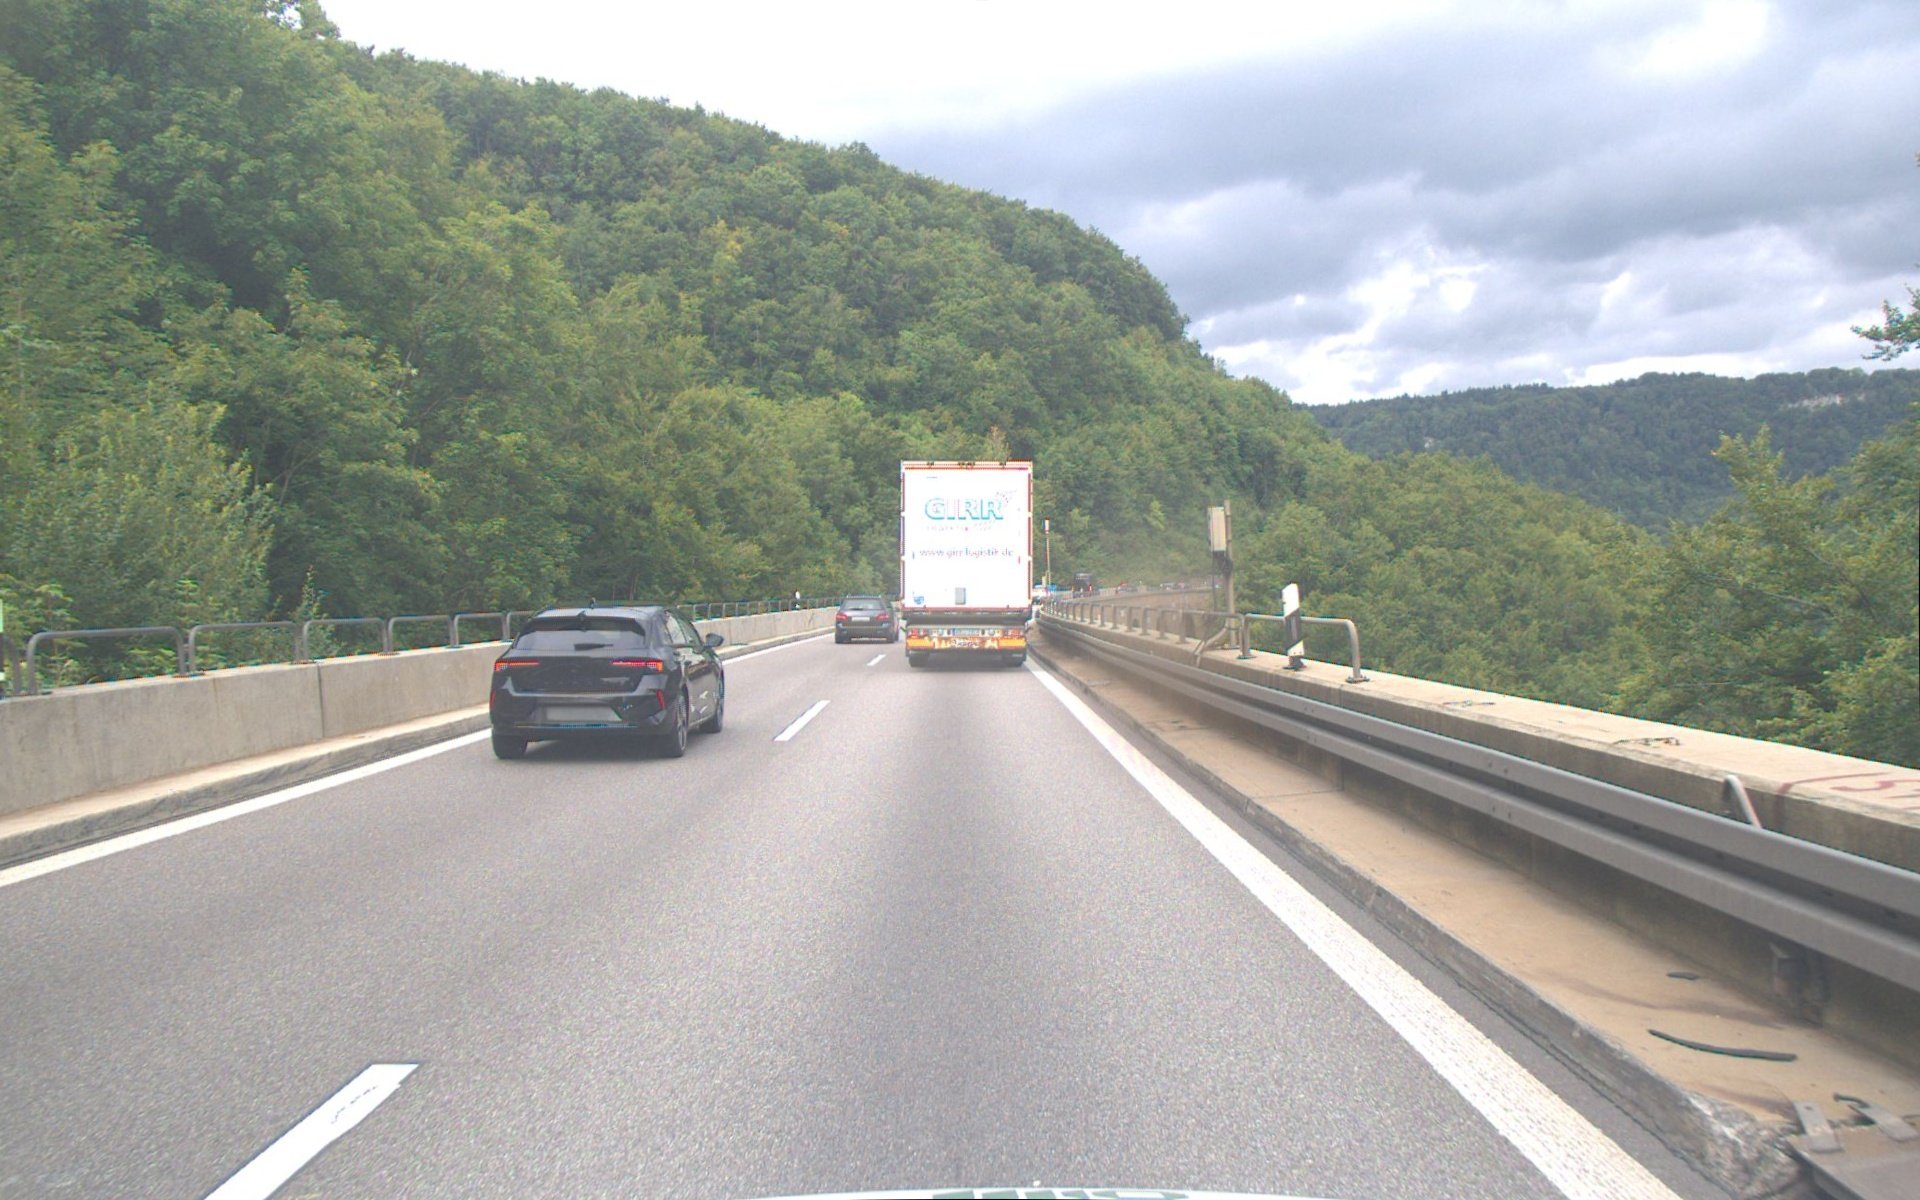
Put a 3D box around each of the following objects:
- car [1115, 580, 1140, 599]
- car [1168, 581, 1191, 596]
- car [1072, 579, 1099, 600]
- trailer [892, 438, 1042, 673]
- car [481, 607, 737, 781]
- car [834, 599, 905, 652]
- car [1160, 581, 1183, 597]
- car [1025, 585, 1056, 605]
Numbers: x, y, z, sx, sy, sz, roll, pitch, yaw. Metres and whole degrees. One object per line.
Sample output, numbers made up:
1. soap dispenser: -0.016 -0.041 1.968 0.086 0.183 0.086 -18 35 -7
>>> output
1. car: 17.333 -1.058 170.991 1.951 1.825 4.003 -1 -1 15
2. car: 29.280 -1.544 220.721 1.953 1.825 3.998 -1 -1 24
3. car: 12.549 -1.027 165.412 1.951 2.049 4.003 -1 -1 15
4. trailer: 0.112 -0.815 37.253 2.756 4.378 12.243 -1 0 0
5. car: -3.404 0.841 16.874 1.737 1.486 4.580 0 0 -2
6. car: -2.786 0.779 51.897 1.844 1.536 4.419 -1 0 1
7. car: 25.321 -1.326 197.750 1.952 1.825 4.001 -1 -1 19
8. car: 6.907 -0.395 141.947 1.951 1.646 4.003 -1 -1 13
